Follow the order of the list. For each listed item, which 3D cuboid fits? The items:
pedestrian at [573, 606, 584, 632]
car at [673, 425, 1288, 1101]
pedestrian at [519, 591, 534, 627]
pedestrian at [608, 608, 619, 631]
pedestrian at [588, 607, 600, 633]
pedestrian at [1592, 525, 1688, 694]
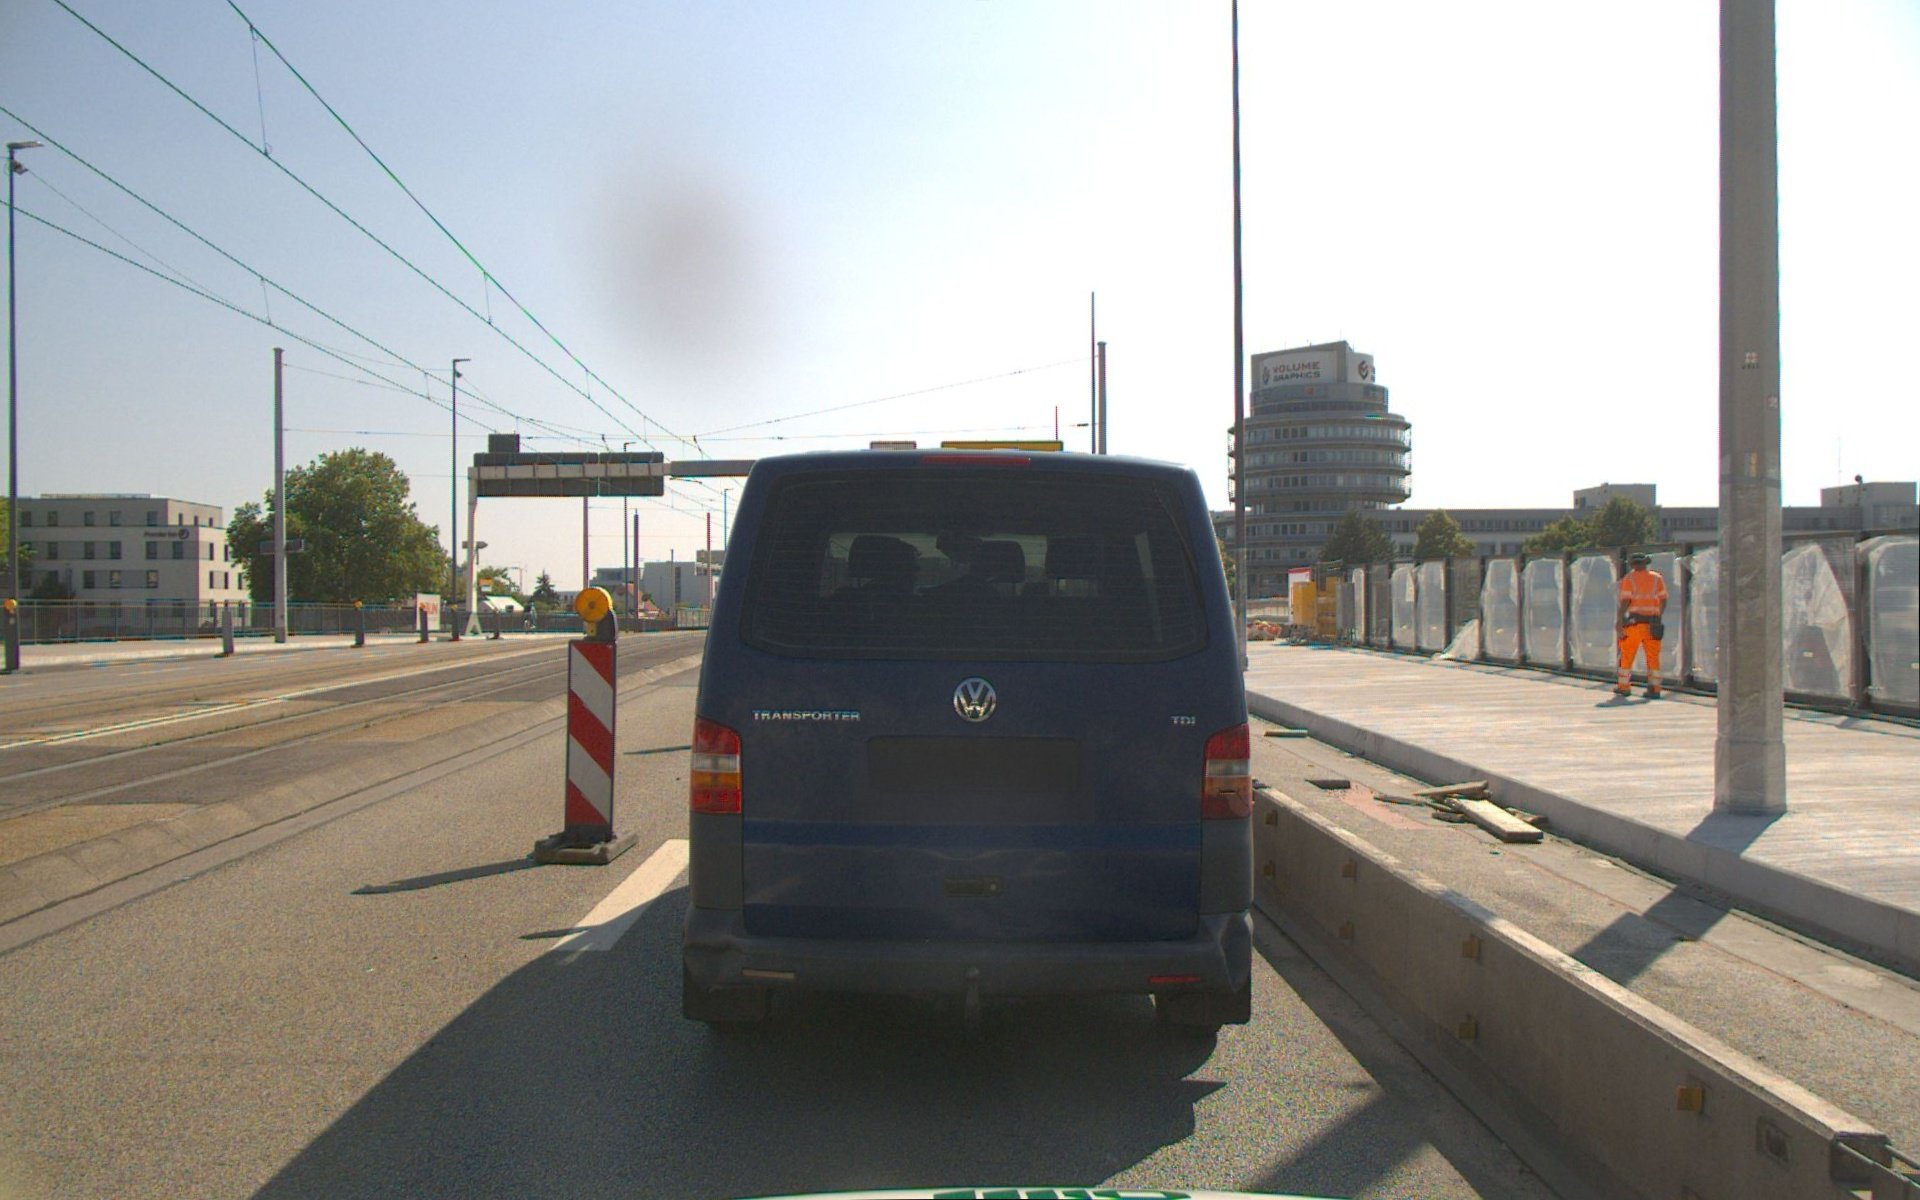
[{"bbox_3d":[-26.226,1.287,113.759,0.621,1.783,0.752,1,0,-2],"label":"pedestrian"},{"bbox_3d":[0.009,0.450,6.805,1.779,1.939,4.053,0,0,-2],"label":"car"},{"bbox_3d":[-23.694,0.476,90.365,0.621,1.926,0.752,0,0,-1],"label":"pedestrian"},{"bbox_3d":[-24.395,1.365,116.438,0.621,1.626,0.752,0,0,-1],"label":"pedestrian"},{"bbox_3d":[-25.409,1.398,114.808,0.621,1.805,0.752,0,0,-1],"label":"pedestrian"},{"bbox_3d":[8.163,0.114,19.888,0.766,1.969,0.799,-2,-1,-1],"label":"pedestrian"}]
